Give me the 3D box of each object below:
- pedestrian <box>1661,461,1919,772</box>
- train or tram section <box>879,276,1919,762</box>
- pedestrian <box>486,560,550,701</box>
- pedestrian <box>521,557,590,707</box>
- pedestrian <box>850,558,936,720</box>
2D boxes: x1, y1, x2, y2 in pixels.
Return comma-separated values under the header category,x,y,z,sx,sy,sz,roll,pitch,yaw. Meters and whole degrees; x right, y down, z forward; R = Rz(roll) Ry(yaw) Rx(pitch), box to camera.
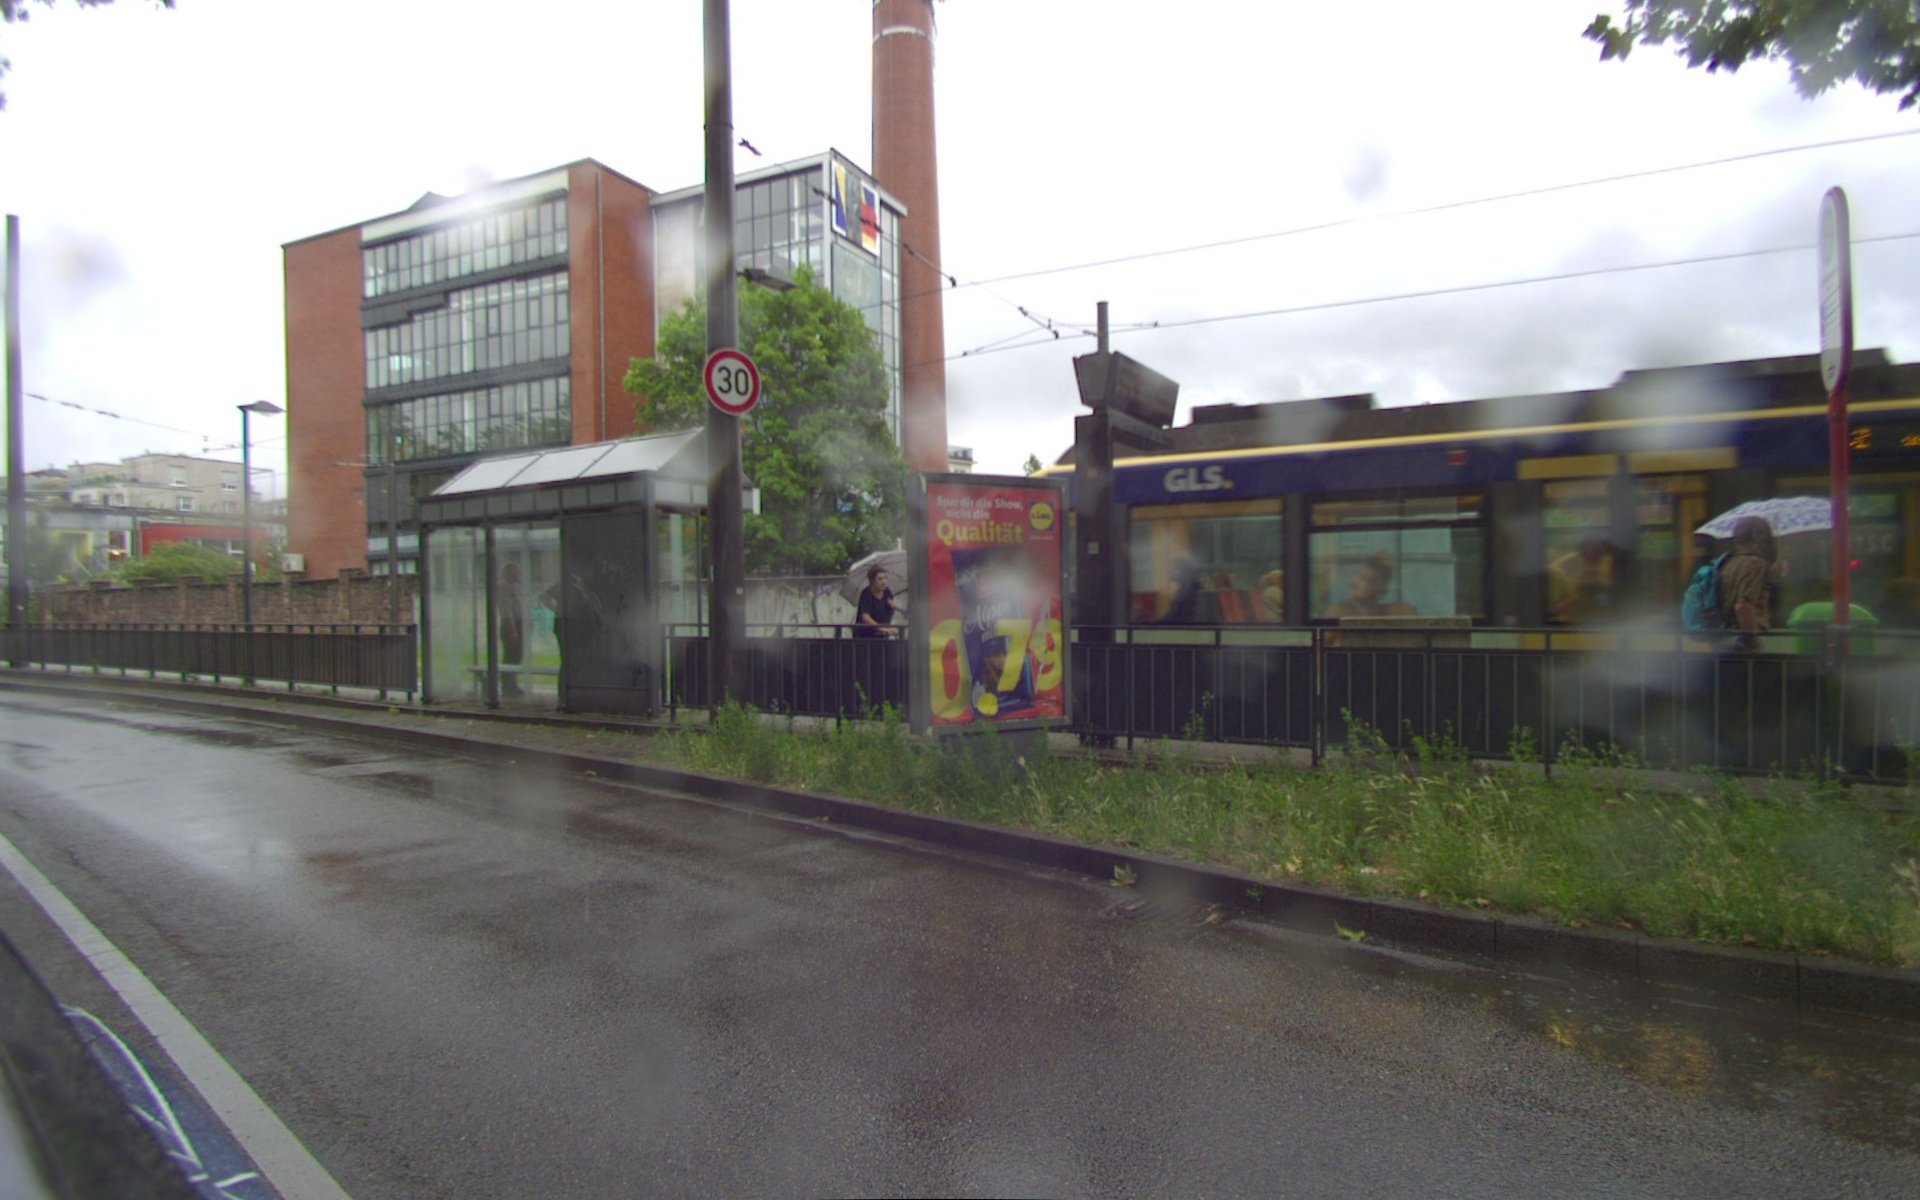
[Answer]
category,x,y,z,sx,sy,sz,roll,pitch,yaw
pedestrian,5.391,0.134,6.673,1.072,1.840,0.975,-4,-4,30
train or tram section,6.512,-0.580,9.328,15.297,3.572,2.843,-1,0,28
pedestrian,-5.714,0.385,13.074,0.620,1.762,0.515,-1,0,-41
pedestrian,-4.907,0.375,12.274,0.620,1.762,0.565,-1,0,-41
pedestrian,-0.689,0.415,10.549,0.504,1.610,0.790,-4,-4,30
